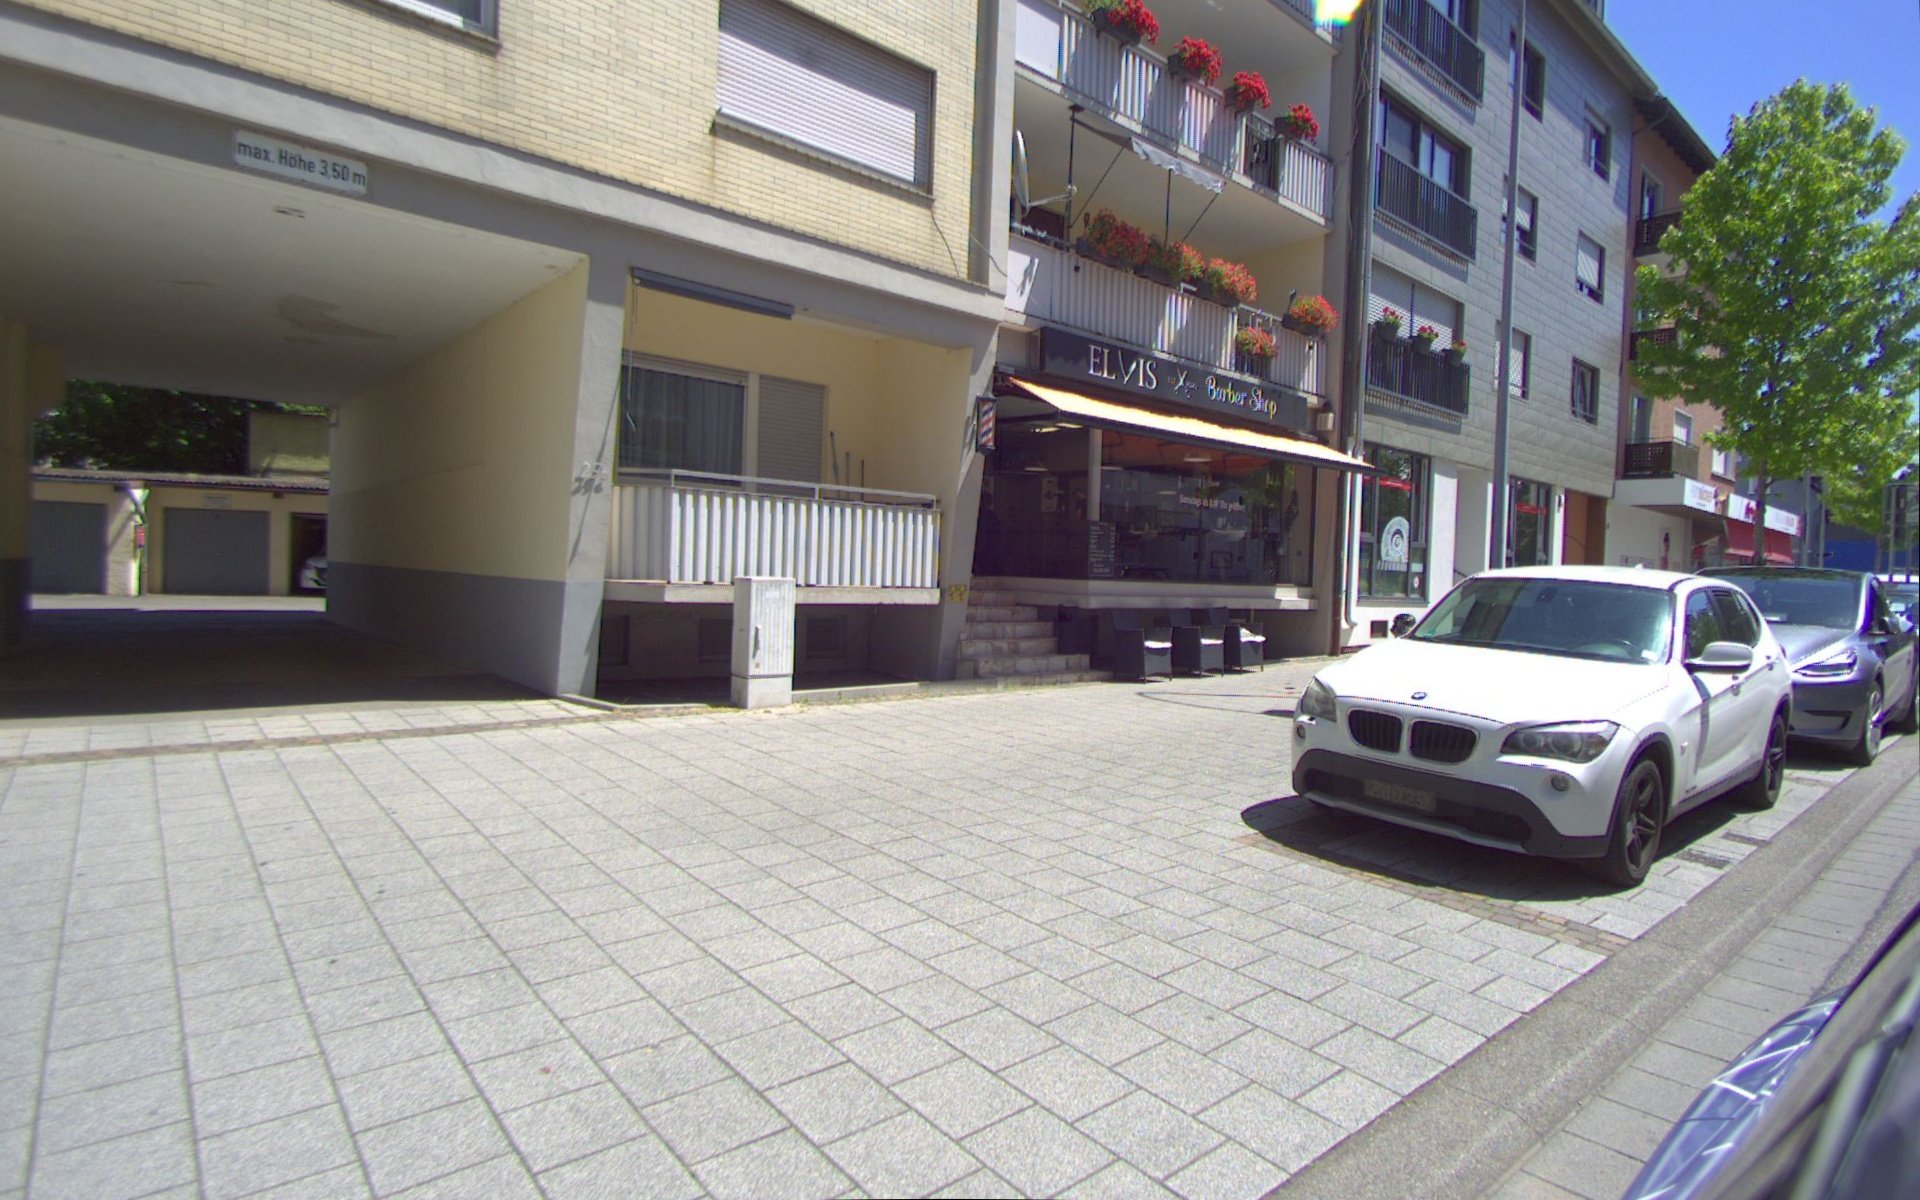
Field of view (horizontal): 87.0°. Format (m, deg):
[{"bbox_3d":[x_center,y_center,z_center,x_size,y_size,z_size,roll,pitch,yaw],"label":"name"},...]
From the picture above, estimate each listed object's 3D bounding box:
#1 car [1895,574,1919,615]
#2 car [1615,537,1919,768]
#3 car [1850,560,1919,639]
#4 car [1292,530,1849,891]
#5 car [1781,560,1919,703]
[{"bbox_3d":[39.788,-0.099,39.838,1.769,1.583,4.003,3,2,-35],"label":"car"},{"bbox_3d":[8.218,0.352,9.868,4.623,1.726,1.768,0,4,-41],"label":"car"},{"bbox_3d":[22.930,-0.018,24.530,1.745,1.745,3.855,5,4,39],"label":"car"},{"bbox_3d":[4.111,0.444,6.534,4.149,1.602,1.727,0,4,-39],"label":"car"},{"bbox_3d":[11.958,0.333,12.907,3.773,1.578,1.626,0,3,-41],"label":"car"}]
